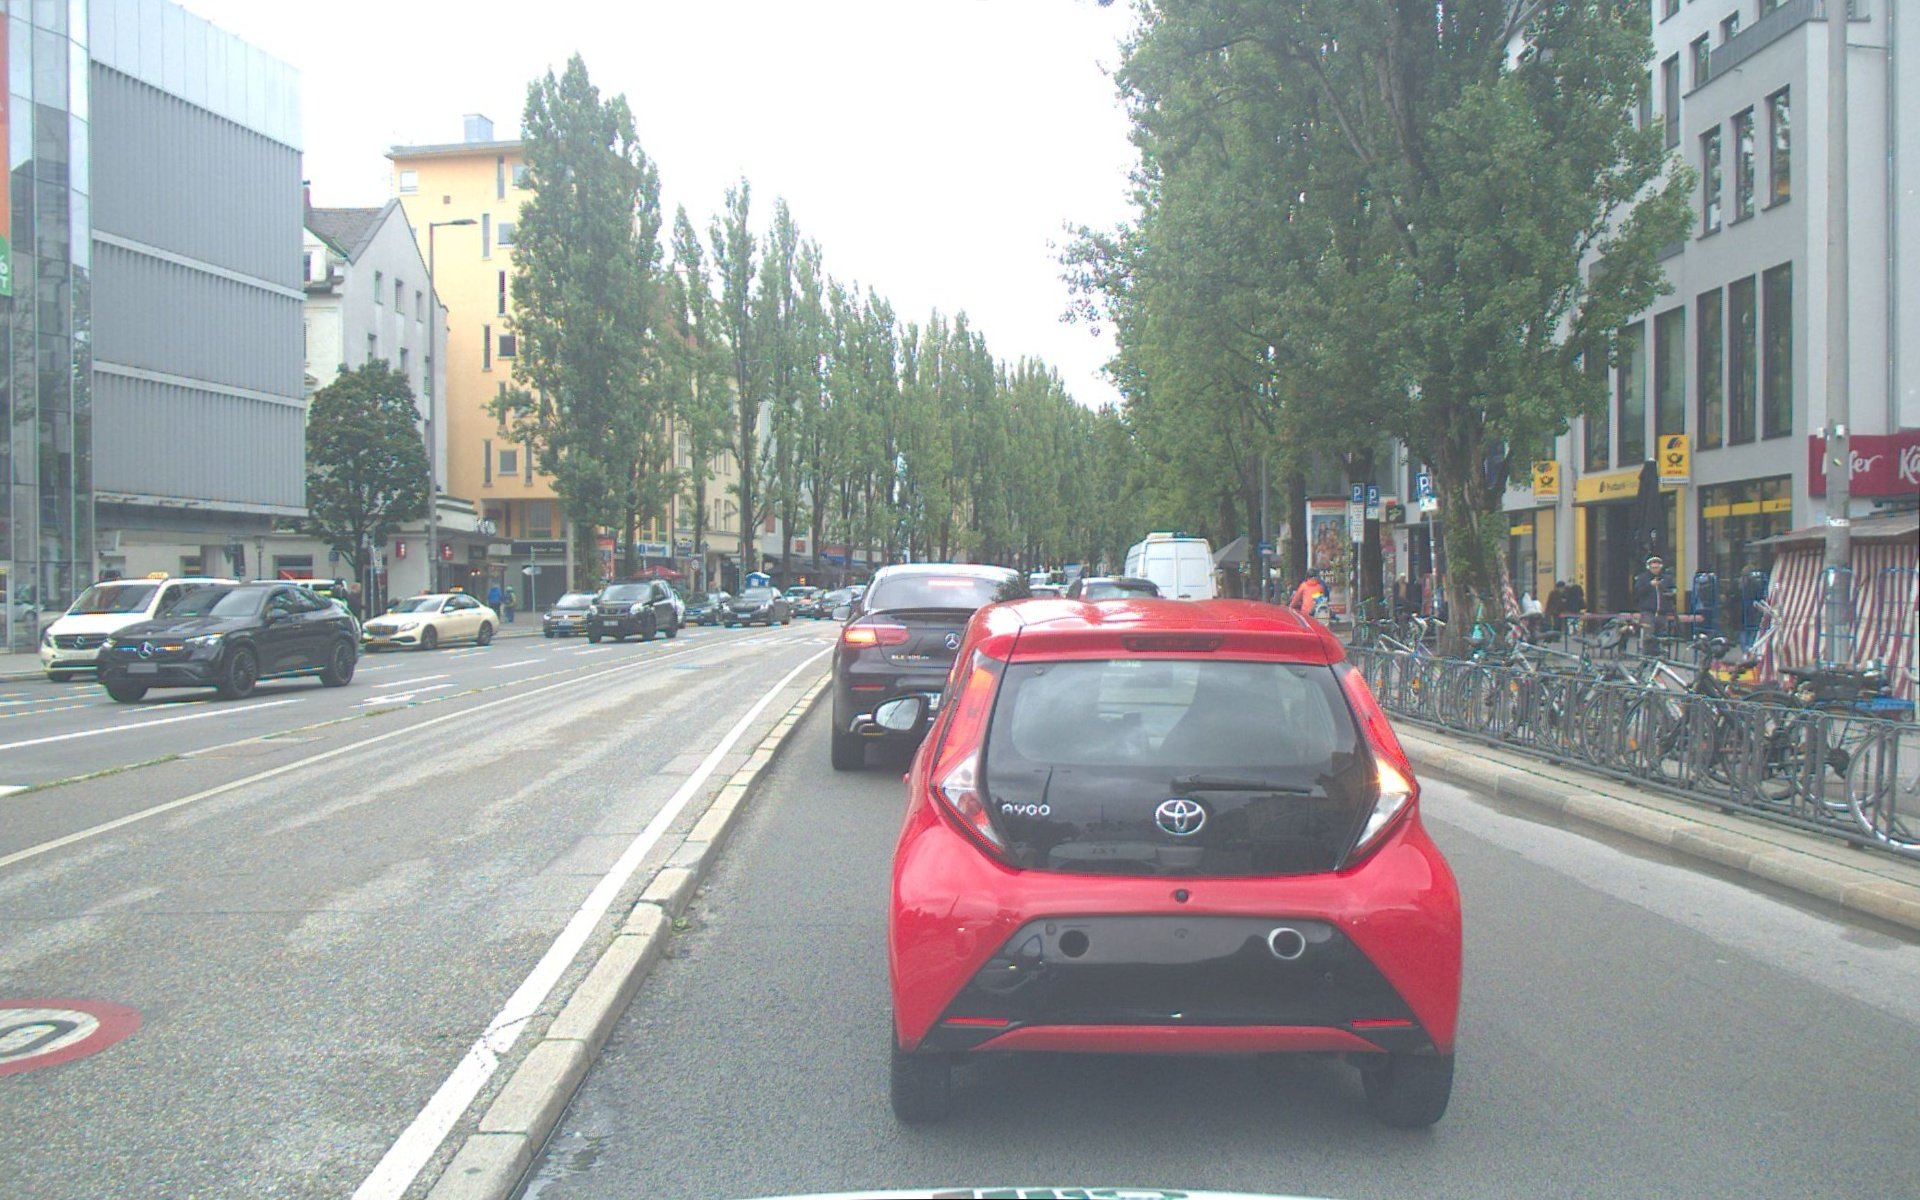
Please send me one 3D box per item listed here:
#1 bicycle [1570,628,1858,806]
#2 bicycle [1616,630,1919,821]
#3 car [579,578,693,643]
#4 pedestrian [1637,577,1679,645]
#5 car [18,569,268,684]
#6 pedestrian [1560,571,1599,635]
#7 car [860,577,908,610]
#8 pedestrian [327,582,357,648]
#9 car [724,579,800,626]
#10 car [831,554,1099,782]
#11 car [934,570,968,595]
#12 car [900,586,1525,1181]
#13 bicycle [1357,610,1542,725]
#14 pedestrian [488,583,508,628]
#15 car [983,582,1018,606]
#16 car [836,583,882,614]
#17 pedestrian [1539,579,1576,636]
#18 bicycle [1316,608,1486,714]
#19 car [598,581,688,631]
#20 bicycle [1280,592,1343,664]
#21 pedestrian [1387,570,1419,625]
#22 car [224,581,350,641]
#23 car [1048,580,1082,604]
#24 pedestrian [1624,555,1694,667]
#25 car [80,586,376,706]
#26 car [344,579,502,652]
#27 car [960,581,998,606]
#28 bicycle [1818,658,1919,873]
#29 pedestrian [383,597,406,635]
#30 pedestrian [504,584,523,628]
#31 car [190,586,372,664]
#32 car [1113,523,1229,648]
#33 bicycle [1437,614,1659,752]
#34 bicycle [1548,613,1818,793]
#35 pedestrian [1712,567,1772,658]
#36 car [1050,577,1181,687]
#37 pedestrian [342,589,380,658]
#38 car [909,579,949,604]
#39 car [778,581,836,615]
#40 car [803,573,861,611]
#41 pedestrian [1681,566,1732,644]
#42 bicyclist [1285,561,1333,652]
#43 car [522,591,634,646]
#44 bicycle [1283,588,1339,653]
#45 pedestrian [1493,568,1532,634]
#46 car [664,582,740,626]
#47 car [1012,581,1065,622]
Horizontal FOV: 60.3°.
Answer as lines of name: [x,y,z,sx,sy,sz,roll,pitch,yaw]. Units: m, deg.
bicycle: [5.415,0.800,11.949,1.805,1.156,0.583,0,1,41]
bicycle: [5.454,0.800,11.189,1.805,1.156,0.583,0,1,41]
car: [-9.081,0.244,46.760,1.952,1.721,4.924,-1,1,4]
pedestrian: [16.528,0.252,39.168,0.699,1.585,0.676,-1,0,-2]
car: [-15.888,0.447,32.567,1.952,2.049,5.525,-1,1,3]
pedestrian: [15.585,0.073,41.635,0.699,1.585,0.676,-1,0,-2]
car: [-4.135,-0.389,90.744,1.951,1.721,4.924,-1,1,5]
pedestrian: [-17.529,0.430,46.929,0.545,1.849,0.628,-1,0,9]
car: [-7.620,0.053,64.108,1.951,1.721,4.924,-1,1,5]
car: [-0.028,0.475,14.118,1.953,1.646,3.999,-1,1,-2]
car: [-0.745,-1.431,135.842,1.951,1.967,4.418,0,1,11]
car: [0.627,0.712,5.770,1.572,1.487,3.129,1,1,-1]
bicycle: [5.196,0.694,17.599,1.800,1.156,0.584,0,1,35]
pedestrian: [-21.258,0.242,76.128,0.673,2.032,0.765,0,0,-1]
car: [3.113,-0.491,125.638,1.951,1.721,4.418,-1,1,11]
car: [-5.935,-0.127,97.641,1.951,1.721,4.924,-1,1,5]
pedestrian: [14.223,0.179,39.366,0.625,1.328,0.676,-1,0,-2]
bicycle: [5.071,0.679,19.063,1.800,1.156,0.584,0,1,35]
car: [-11.679,0.186,61.290,1.951,1.721,4.924,-1,1,5]
bicycle: [6.606,0.502,31.209,0.601,1.287,2.519,-1,1,-1]
pedestrian: [13.240,-0.080,49.481,0.748,1.621,0.676,-1,0,-2]
car: [-21.359,0.316,52.665,1.830,1.803,4.245,-1,1,7]
car: [6.591,-0.517,103.510,1.735,1.464,3.942,-1,1,10]
pedestrian: [11.194,0.167,26.522,0.774,1.758,0.763,-1,0,-2]
car: [-10.563,0.598,24.316,1.951,1.561,4.591,-1,1,5]
car: [-14.478,0.377,44.895,1.951,1.847,4.537,-1,1,14]
car: [1.350,-0.484,118.115,1.951,1.721,4.418,-1,1,11]
bicycle: [5.447,0.865,8.456,1.805,1.070,0.583,0,1,41]
pedestrian: [-19.965,0.551,58.406,0.545,1.313,0.628,-1,1,9]
pedestrian: [-20.562,0.261,76.220,0.673,2.032,0.765,0,0,-1]
car: [-15.699,0.534,38.520,1.951,1.684,4.536,0,0,7]
car: [4.920,-0.346,39.260,2.064,2.766,4.803,-1,1,-1]
bicycle: [5.268,0.718,14.871,1.800,1.156,0.584,0,1,35]
bicycle: [5.486,0.743,12.618,1.805,1.263,0.583,0,1,41]
pedestrian: [14.226,0.227,30.115,0.718,1.630,0.741,-1,0,-2]
car: [2.424,0.457,26.491,1.668,1.617,3.555,-1,1,-1]
pedestrian: [-15.015,0.583,41.478,0.609,1.727,0.696,-1,0,9]
car: [-2.142,-0.600,116.285,1.951,1.721,4.418,-1,1,11]
car: [-8.008,-0.115,86.948,1.951,1.721,4.925,-1,1,7]
car: [-6.094,-0.420,79.525,1.951,1.721,4.924,-1,1,5]
pedestrian: [15.787,0.101,34.998,0.718,1.630,0.741,-1,0,-2]
bicyclist: [6.590,0.112,31.251,0.601,1.686,1.251,-1,1,-1]
car: [-12.314,0.561,53.607,1.951,1.637,4.537,-1,1,9]
bicycle: [7.413,0.408,35.040,0.601,1.287,2.519,-1,1,-1]
pedestrian: [13.432,0.020,40.248,0.699,1.585,0.676,-1,0,-2]
car: [-10.706,0.141,68.912,1.951,1.721,4.924,-1,1,5]
car: [2.841,0.031,60.279,1.665,1.451,3.496,-1,1,-2]
